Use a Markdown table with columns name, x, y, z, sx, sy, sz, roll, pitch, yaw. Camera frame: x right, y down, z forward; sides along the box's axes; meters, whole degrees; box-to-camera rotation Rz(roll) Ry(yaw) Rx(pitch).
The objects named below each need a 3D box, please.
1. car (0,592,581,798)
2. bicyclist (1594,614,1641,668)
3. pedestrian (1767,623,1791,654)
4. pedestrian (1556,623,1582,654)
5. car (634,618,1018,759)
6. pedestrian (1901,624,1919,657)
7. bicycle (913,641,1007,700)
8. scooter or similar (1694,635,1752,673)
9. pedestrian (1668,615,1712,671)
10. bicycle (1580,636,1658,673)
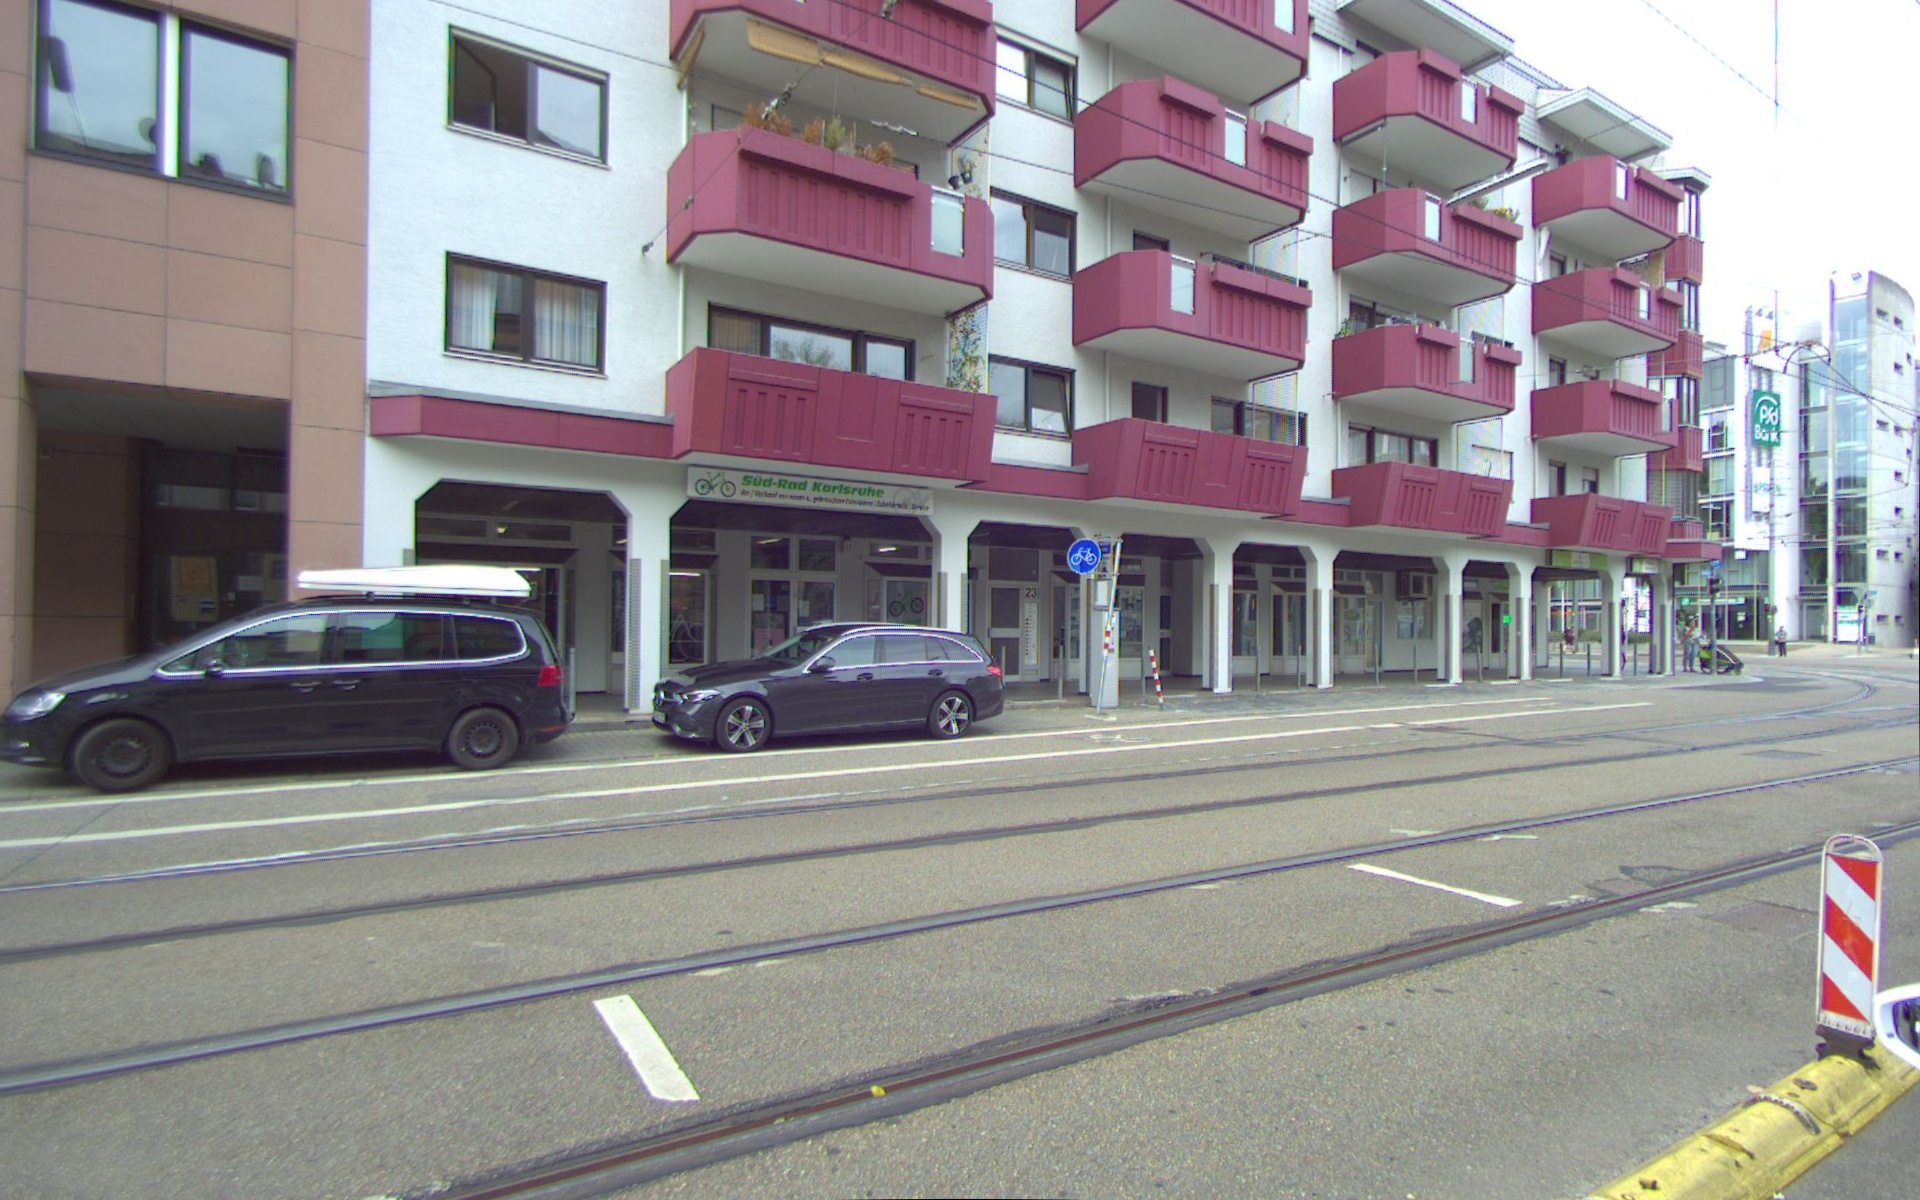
| name | x | y | z | sx | sy | sz | roll | pitch | yaw |
| --- | --- | --- | --- | --- | --- | --- | --- | --- | --- |
| car | -6.477 | 0.820 | 10.242 | 4.645 | 1.669 | 1.797 | 1 | 1 | -32 |
| bicyclist | 20.590 | 1.270 | 31.471 | 0.738 | 1.673 | 1.055 | 0 | -1 | -5 |
| pedestrian | 49.605 | 2.330 | 60.857 | 0.754 | 1.889 | 0.833 | 1 | -1 | -17 |
| pedestrian | 33.720 | 2.134 | 55.634 | 0.753 | 1.693 | 0.935 | 1 | -1 | -17 |
| car | -1.655 | 1.031 | 13.053 | 4.645 | 1.500 | 1.745 | 1 | 1 | -32 |
| pedestrian | 56.131 | 2.369 | 59.013 | 0.889 | 1.880 | 0.987 | 1 | -1 | -23 |
| bicycle | 0.007 | 1.198 | 17.345 | 1.636 | 0.966 | 0.560 | 1 | -1 | -39 |
| scooter or similar | 23.904 | 1.678 | 31.483 | 0.936 | 1.143 | 1.189 | 1 | 0 | -32 |
| pedestrian | 23.418 | 1.368 | 32.221 | 0.803 | 1.766 | 0.942 | 1 | -1 | -33 |
| bicycle | 20.588 | 1.690 | 31.432 | 0.750 | 1.101 | 2.360 | 0 | -1 | -5 |
